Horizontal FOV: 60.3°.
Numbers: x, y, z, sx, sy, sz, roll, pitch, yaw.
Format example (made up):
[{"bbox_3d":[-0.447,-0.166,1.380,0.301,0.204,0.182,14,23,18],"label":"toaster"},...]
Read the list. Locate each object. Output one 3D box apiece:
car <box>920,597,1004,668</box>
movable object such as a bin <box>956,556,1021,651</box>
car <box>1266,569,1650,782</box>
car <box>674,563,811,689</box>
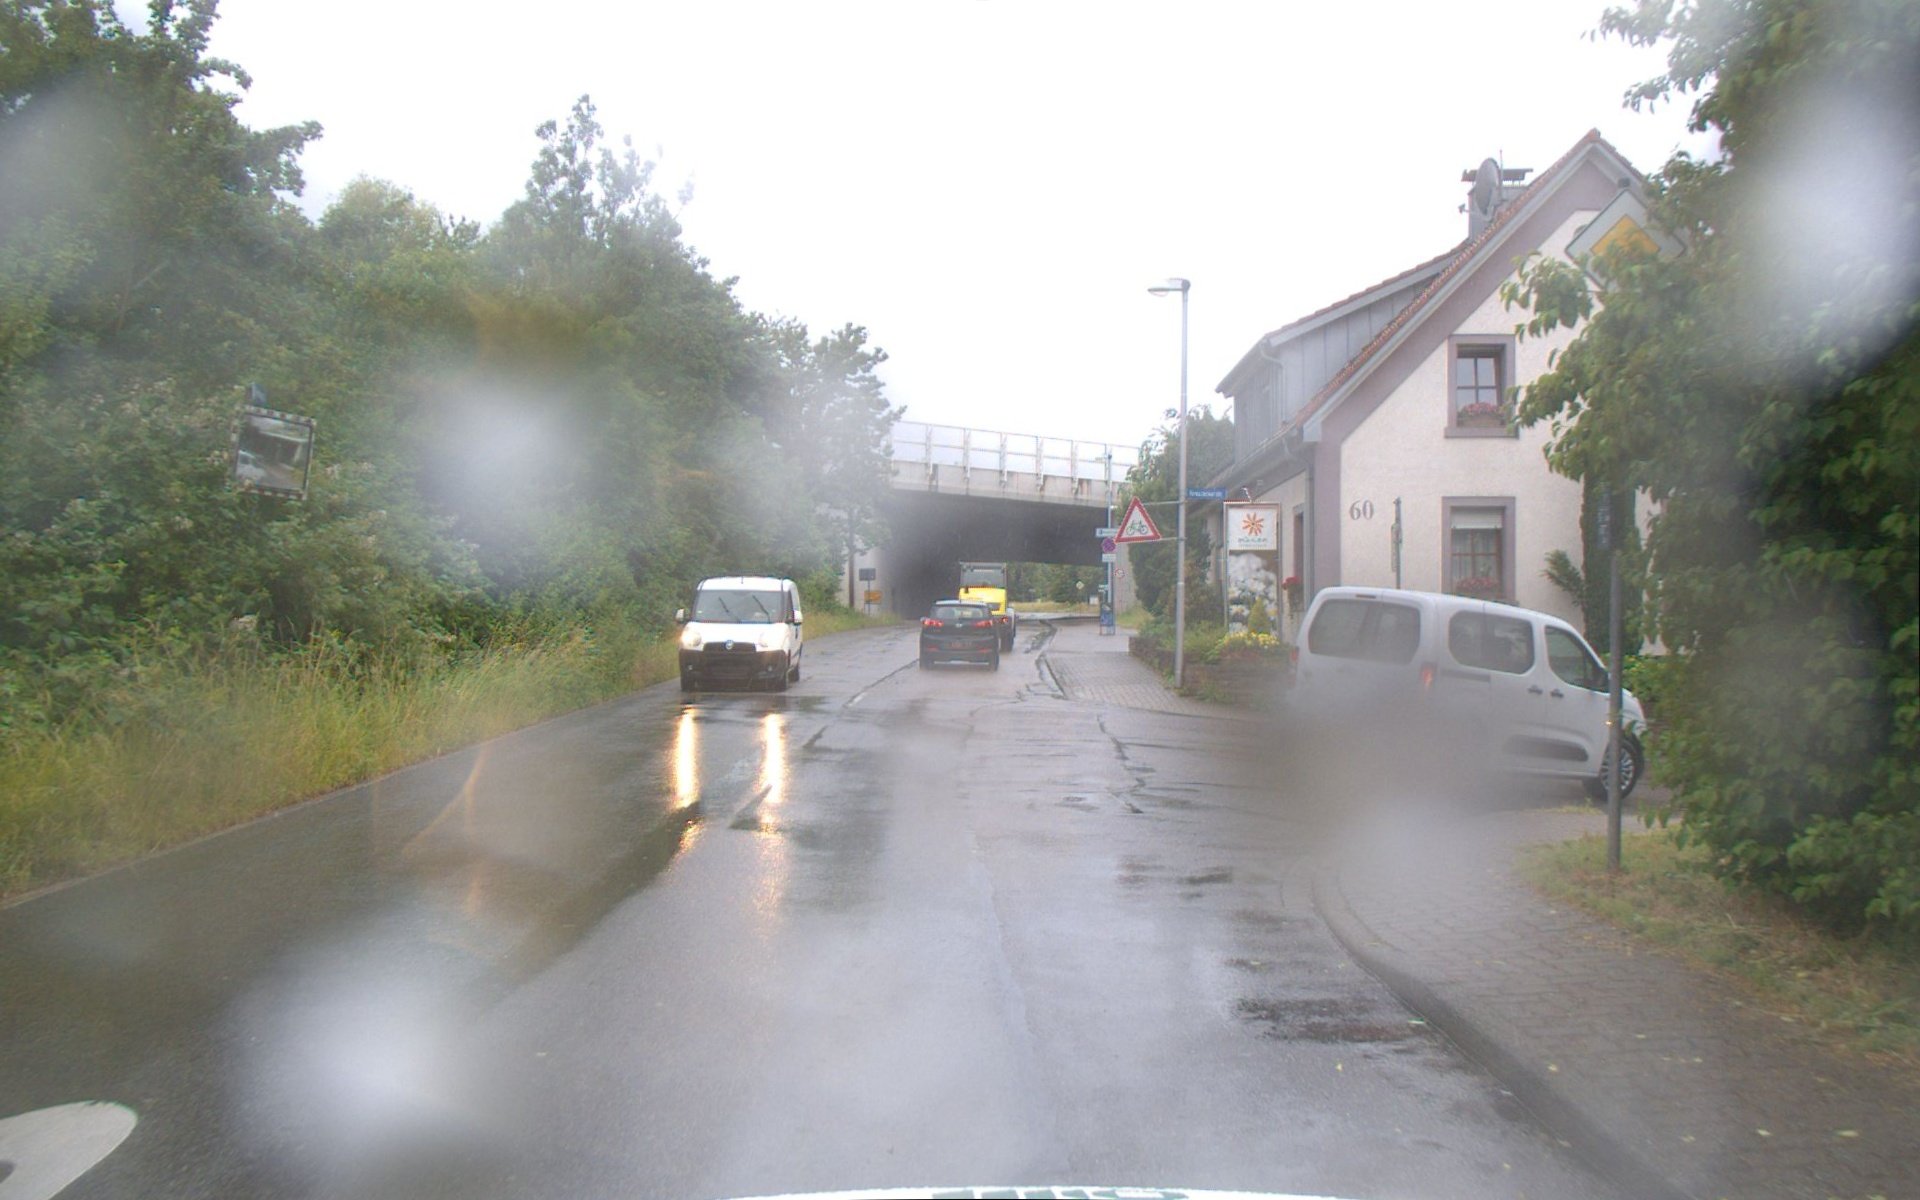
[{"bbox_3d":[0.103,0.688,36.600,1.673,1.401,4.001,2,0,2],"label":"car"},{"bbox_3d":[0.859,0.098,48.450,1.725,2.592,4.240,2,0,2],"label":"movable object such as a bin"},{"bbox_3d":[4.991,0.641,16.343,3.966,1.838,1.874,0,1,-42],"label":"car"},{"bbox_3d":[-3.536,0.406,27.565,1.787,1.864,4.305,2,0,-2],"label":"car"}]
